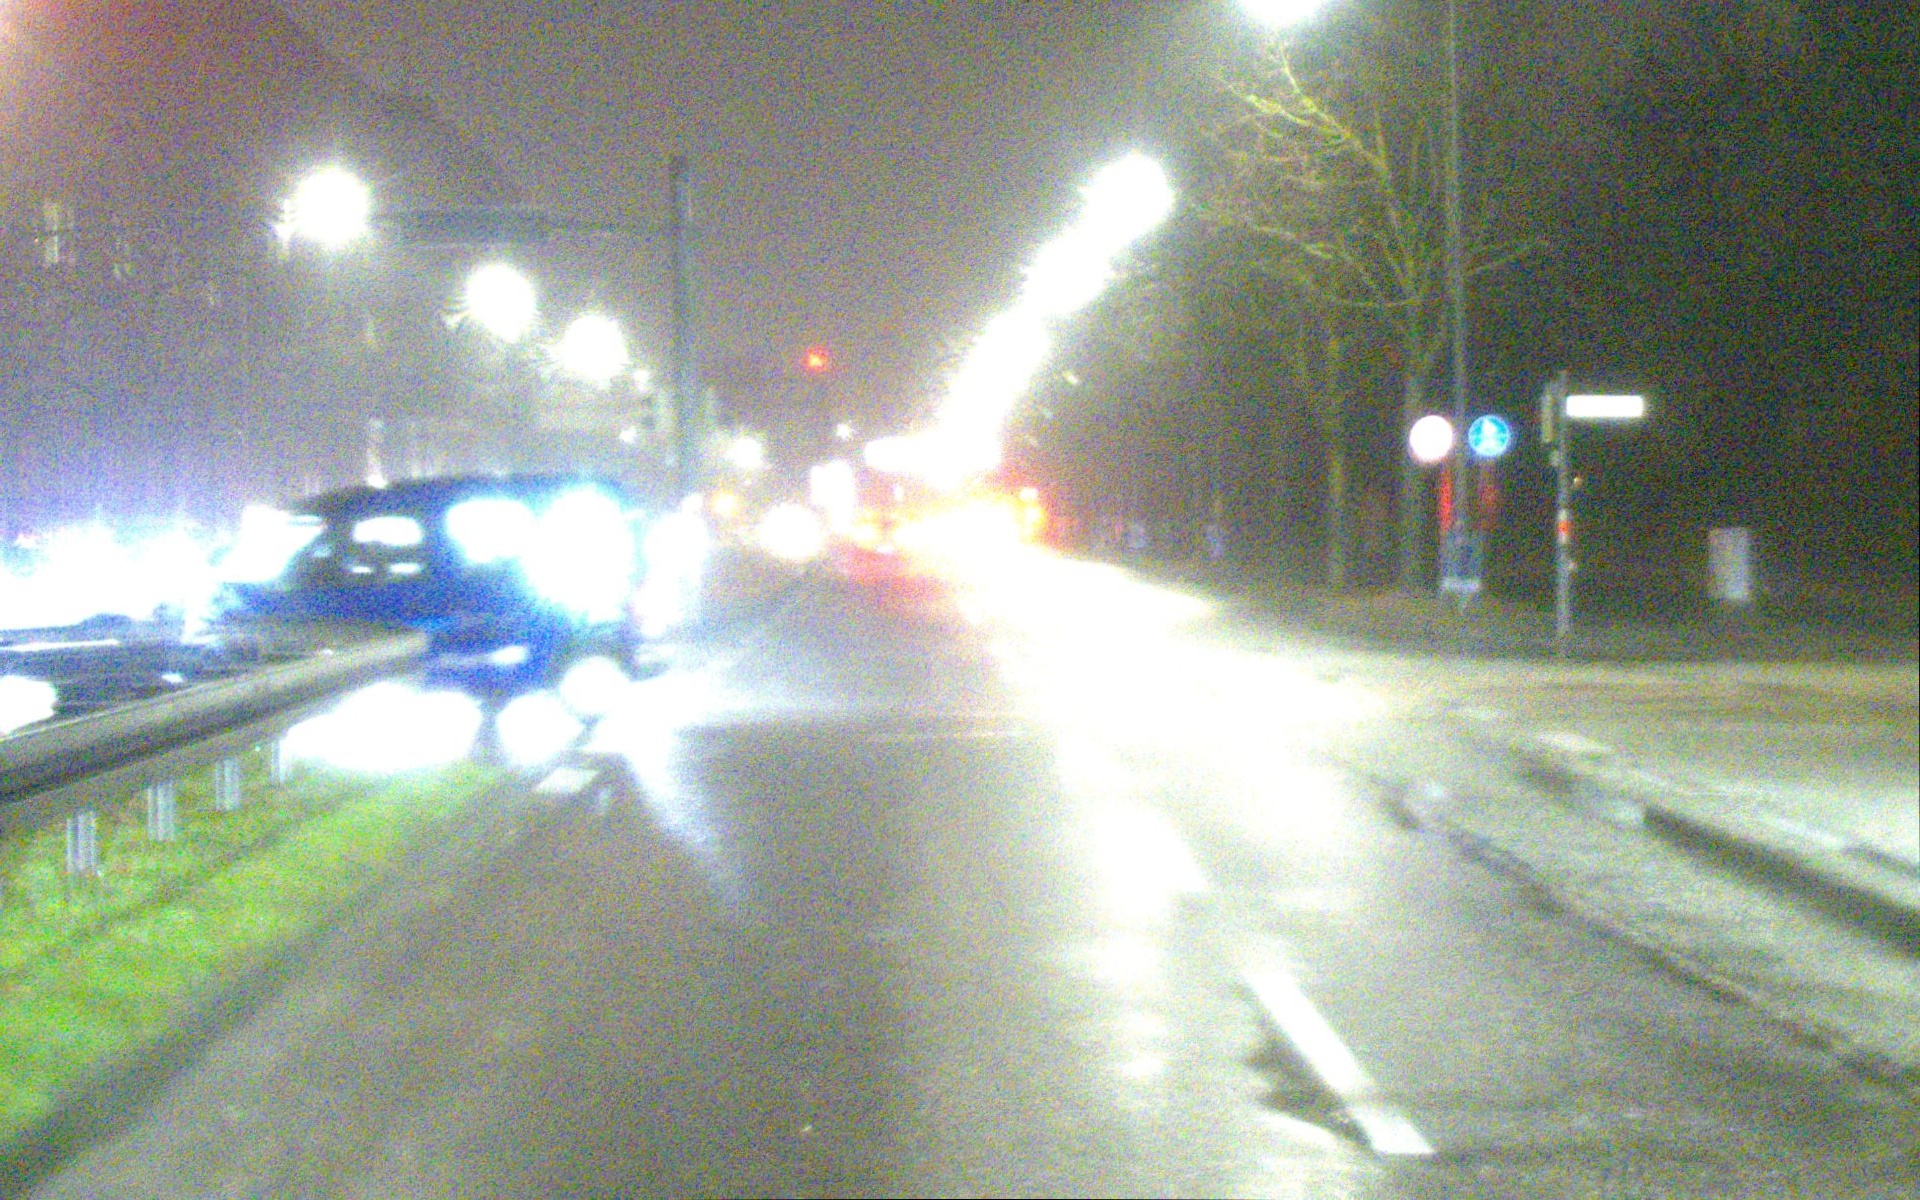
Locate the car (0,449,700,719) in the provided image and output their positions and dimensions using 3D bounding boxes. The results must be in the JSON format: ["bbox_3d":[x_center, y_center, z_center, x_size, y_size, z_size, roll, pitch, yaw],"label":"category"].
[{"bbox_3d":[-4.269,-0.104,24.235,4.491,1.743,1.860,0,1,-32],"label":"car"}]

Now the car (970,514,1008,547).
[{"bbox_3d":[1.603,-3.793,188.831,1.993,1.753,4.000,1,1,-1],"label":"car"}]

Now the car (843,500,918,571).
[{"bbox_3d":[-2.361,-1.876,101.181,1.993,2.007,4.633,1,1,-4],"label":"car"}]
